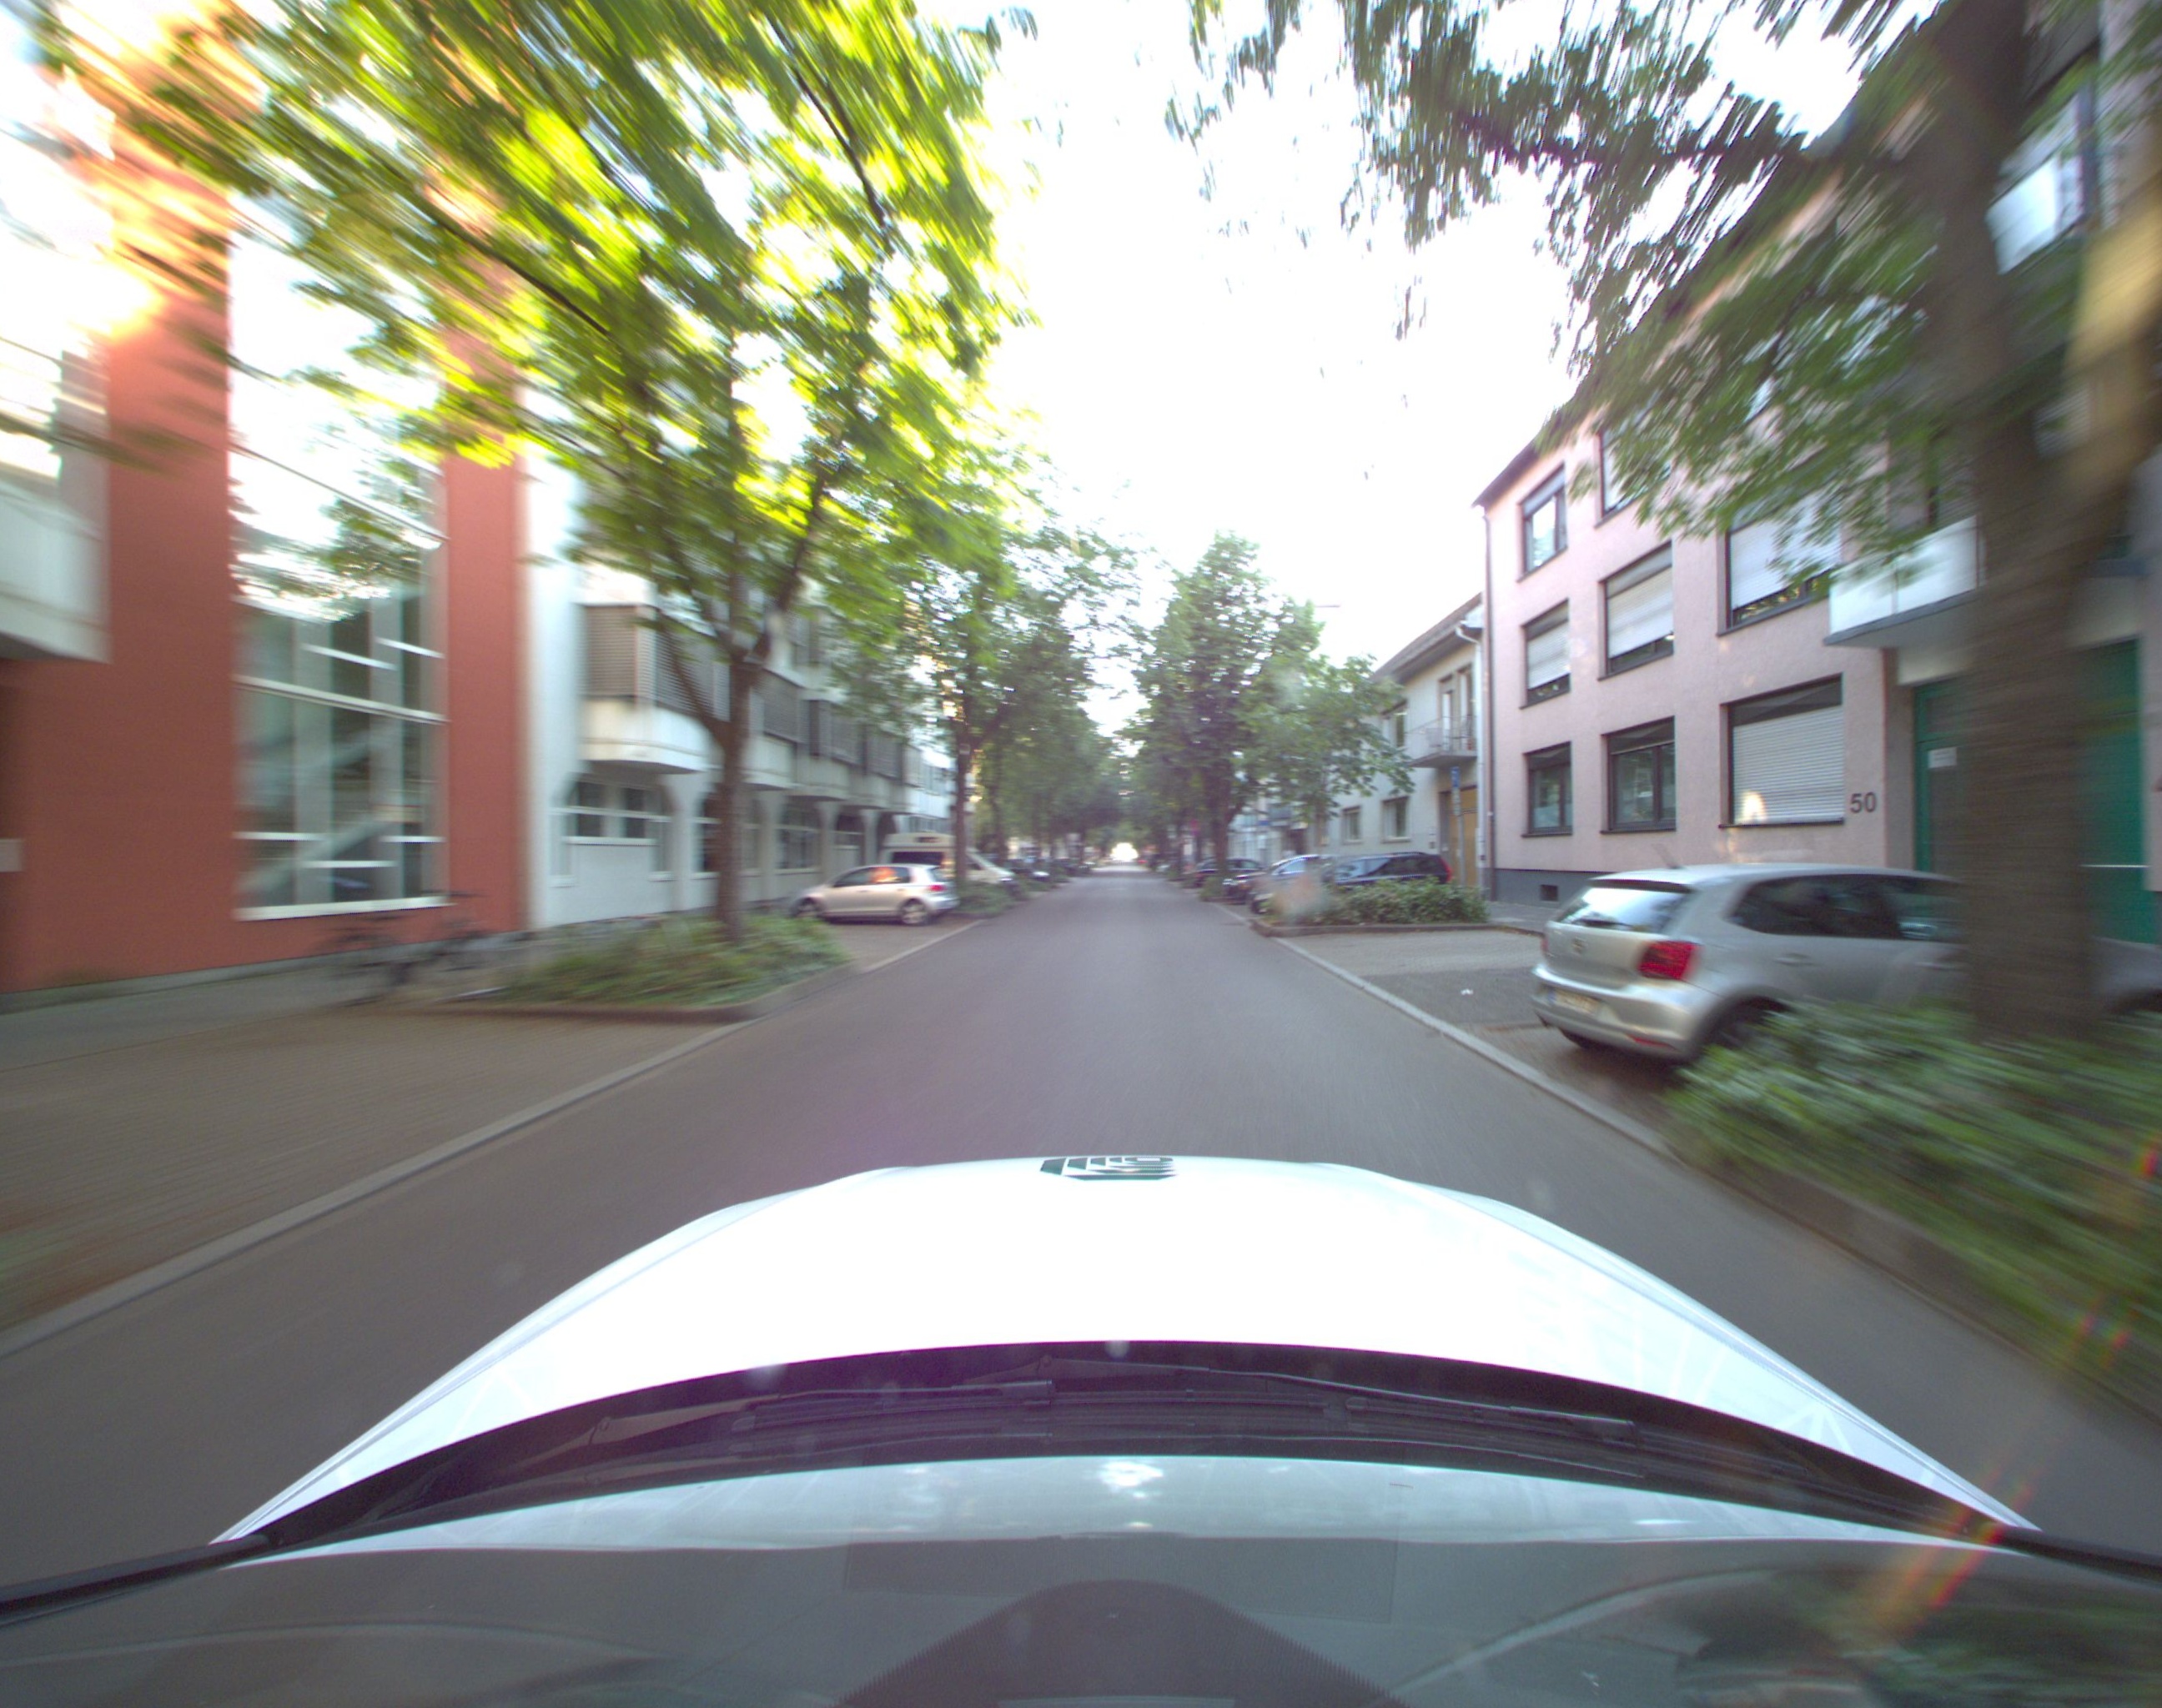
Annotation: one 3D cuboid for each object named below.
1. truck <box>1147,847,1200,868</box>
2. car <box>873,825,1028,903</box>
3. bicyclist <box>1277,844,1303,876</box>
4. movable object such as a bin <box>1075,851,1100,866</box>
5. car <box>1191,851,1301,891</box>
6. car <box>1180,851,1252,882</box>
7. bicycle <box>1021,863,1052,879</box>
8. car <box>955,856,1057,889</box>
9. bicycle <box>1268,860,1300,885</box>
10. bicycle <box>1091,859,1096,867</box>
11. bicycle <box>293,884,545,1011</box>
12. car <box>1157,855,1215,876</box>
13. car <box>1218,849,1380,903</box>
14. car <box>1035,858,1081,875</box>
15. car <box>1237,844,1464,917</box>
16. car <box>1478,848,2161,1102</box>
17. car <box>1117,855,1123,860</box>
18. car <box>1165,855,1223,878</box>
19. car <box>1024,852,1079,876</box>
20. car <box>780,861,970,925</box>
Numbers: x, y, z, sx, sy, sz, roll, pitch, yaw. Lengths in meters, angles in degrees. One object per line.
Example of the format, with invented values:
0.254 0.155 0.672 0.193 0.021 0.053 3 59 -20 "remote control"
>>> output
10.341 0.394 91.371 5.862 2.311 2.214 -1 -1 3 "truck"
-4.493 0.345 28.552 4.983 2.573 2.122 -1 0 3 "car"
10.738 0.317 41.885 0.967 1.604 1.135 -1 0 -2 "bicyclist"
1.102 0.745 134.531 4.036 2.383 2.782 -1 0 -3 "movable object such as a bin"
6.976 0.710 34.928 4.435 1.427 2.015 -3 -1 7 "car"
7.944 0.736 48.107 3.953 1.585 1.917 -3 -1 2 "car"
-2.361 0.916 43.048 1.545 0.830 0.614 -1 -1 6 "bicycle"
-3.720 0.913 40.979 4.831 1.622 2.162 0 0 3 "car"
10.325 0.919 41.598 0.619 1.164 3.398 -1 0 -2 "bicycle"
1.865 1.311 119.933 0.681 1.152 1.979 -1 0 -2 "bicycle"
-6.665 0.916 8.276 1.954 1.176 0.655 -1 0 -4 "bicycle"
8.750 0.938 68.180 4.582 1.468 1.797 -4 -1 2 "car"
6.855 0.692 26.068 4.656 1.388 2.003 -3 -1 4 "car"
-2.038 1.146 73.146 3.972 1.464 1.923 -1 0 1 "car"
6.311 0.625 19.616 4.816 1.448 2.045 -3 -1 5 "car"
5.300 0.723 5.809 4.068 1.490 1.798 -1 0 0 "car"
11.758 1.017 245.809 2.002 1.613 4.121 0 1 2 "car"
8.600 0.923 62.153 4.073 1.451 1.933 -4 0 -3 "car"
-2.432 0.841 67.935 4.488 1.955 2.001 0 -1 1 "car"
-5.048 0.935 20.349 4.150 1.468 1.955 -1 0 3 "car"
